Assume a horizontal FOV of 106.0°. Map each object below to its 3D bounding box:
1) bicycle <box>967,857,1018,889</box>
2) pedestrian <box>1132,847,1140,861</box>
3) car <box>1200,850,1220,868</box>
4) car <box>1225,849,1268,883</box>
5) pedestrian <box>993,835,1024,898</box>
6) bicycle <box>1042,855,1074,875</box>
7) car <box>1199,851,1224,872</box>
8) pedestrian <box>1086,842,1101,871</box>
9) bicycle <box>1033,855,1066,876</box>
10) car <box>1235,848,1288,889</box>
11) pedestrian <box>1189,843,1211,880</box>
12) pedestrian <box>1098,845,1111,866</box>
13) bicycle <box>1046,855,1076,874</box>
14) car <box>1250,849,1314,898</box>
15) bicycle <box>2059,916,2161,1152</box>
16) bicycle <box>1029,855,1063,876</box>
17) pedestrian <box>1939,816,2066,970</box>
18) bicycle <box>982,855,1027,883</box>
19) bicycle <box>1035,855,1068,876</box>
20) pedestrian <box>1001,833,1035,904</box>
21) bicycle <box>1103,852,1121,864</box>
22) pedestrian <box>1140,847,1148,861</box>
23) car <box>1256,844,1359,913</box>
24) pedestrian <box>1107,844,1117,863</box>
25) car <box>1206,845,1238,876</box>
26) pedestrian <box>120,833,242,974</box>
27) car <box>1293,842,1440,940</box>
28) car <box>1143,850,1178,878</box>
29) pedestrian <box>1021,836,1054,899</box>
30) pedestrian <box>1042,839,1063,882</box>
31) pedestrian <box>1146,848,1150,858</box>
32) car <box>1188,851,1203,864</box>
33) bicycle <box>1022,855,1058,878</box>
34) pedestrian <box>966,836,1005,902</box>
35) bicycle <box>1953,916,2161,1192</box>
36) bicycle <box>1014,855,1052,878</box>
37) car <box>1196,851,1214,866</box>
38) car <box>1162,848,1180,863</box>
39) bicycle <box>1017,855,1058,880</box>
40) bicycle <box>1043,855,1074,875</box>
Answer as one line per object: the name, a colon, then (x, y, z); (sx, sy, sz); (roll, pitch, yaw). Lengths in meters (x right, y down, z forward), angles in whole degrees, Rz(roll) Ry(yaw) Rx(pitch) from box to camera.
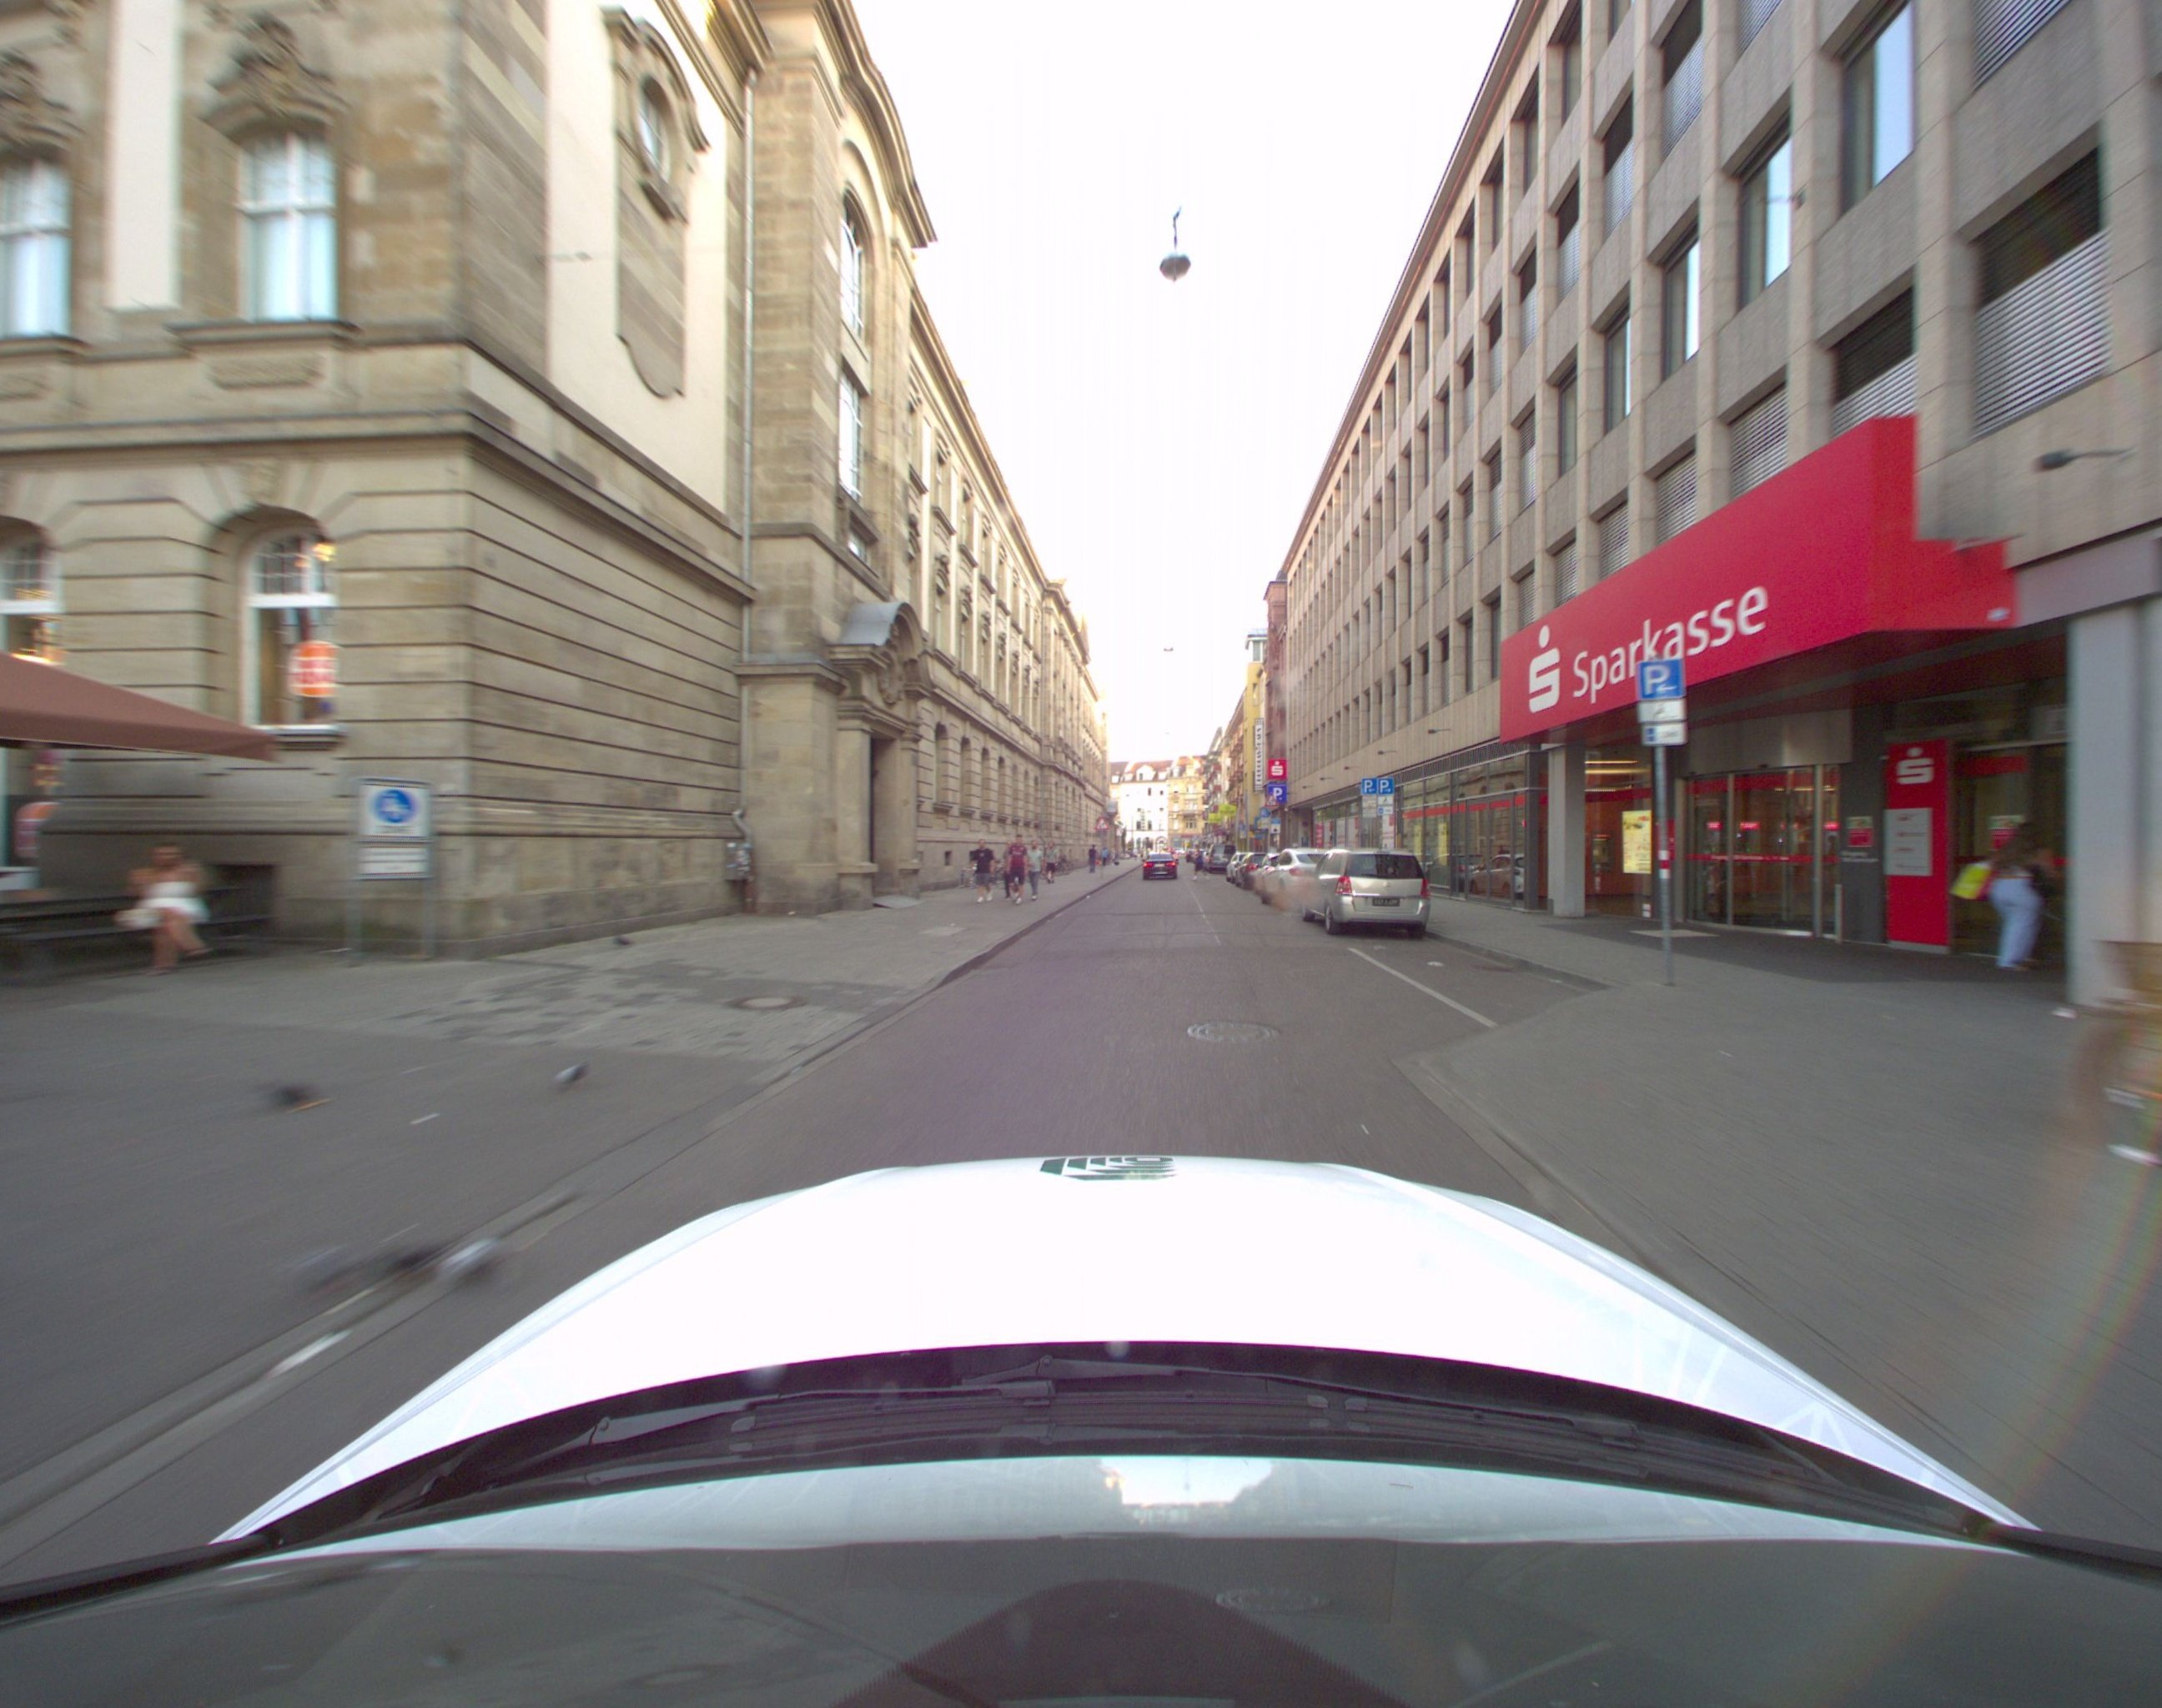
bicycle: (-3.100, 0.662, 28.554); (1.669, 1.041, 0.489); (2, 0, 11)
pedestrian: (7.326, 0.021, 107.848); (0.929, 1.752, 0.811); (3, 0, 2)
car: (11.668, 0.418, 73.837); (1.636, 1.523, 3.290); (2, 0, 5)
car: (7.836, 0.545, 38.718); (1.636, 1.523, 3.290); (2, 0, 5)
pedestrian: (-2.065, 0.355, 23.325); (0.686, 1.752, 0.722); (3, 0, 3)
bicycle: (-1.240, 0.603, 44.638); (1.672, 1.041, 0.488); (2, 0, 4)
car: (10.046, 0.523, 62.872); (1.636, 1.523, 3.290); (2, 0, 5)
pedestrian: (0.778, 0.137, 50.843); (0.800, 1.752, 0.811); (3, 0, 3)
bicycle: (-1.673, 0.599, 42.879); (1.672, 1.041, 0.488); (2, 0, 4)
car: (7.182, 0.546, 32.629); (1.636, 1.523, 3.290); (2, 0, 5)
pedestrian: (5.823, 0.353, 39.884); (0.823, 1.791, 0.722); (0, 0, -19)
pedestrian: (1.886, 0.096, 64.509); (0.929, 1.636, 0.655); (3, 0, 3)
bicycle: (-1.141, 0.609, 46.390); (1.672, 1.041, 0.488); (2, 0, 4)
car: (6.804, 0.608, 27.808); (1.636, 1.523, 3.290); (2, 0, 5)
bicycle: (5.163, 0.842, 3.273); (0.556, 1.041, 1.688); (-2, 0, 7)
bicycle: (-1.792, 0.595, 41.646); (1.672, 1.041, 0.488); (2, 0, 4)
pedestrian: (10.446, 0.420, 9.250); (0.703, 1.661, 0.692); (-1, 0, -14)
bicycle: (-2.951, 0.565, 31.389); (1.680, 1.041, 0.485); (2, 0, -12)
bicycle: (-1.567, 0.600, 43.327); (1.672, 1.041, 0.488); (2, 0, 4)
pedestrian: (-1.669, 0.376, 21.688); (0.694, 1.812, 0.976); (3, 0, 3)
bicycle: (2.933, 0.415, 77.036); (1.671, 1.041, 0.488); (3, 0, 6)
pedestrian: (8.354, 0.018, 108.325); (0.929, 1.752, 0.811); (3, 0, 2)
car: (5.972, 0.581, 21.922); (1.762, 1.636, 4.093); (2, 0, 3)
pedestrian: (2.922, -0.037, 76.100); (0.804, 1.752, 0.937); (3, 0, 4)
car: (9.537, 0.401, 55.341); (1.861, 2.018, 3.771); (2, 0, 5)
pedestrian: (-9.046, 0.463, 8.193); (0.763, 1.308, 0.669); (4, 2, 30)
car: (5.442, 0.620, 16.067); (1.761, 1.636, 4.058); (2, 0, 5)
car: (4.227, 0.491, 43.563); (1.761, 1.409, 4.058); (-1, 0, 5)
pedestrian: (-1.268, 0.381, 23.729); (0.783, 1.752, 0.722); (3, 0, 3)
pedestrian: (-1.211, 0.265, 34.546); (0.715, 1.752, 0.669); (3, 0, 3)
pedestrian: (11.789, -0.235, 143.254); (0.663, 1.752, 0.681); (3, 0, 2)
car: (13.931, 0.442, 99.564); (1.636, 1.523, 3.290); (2, 0, 5)
bicycle: (-1.996, 0.589, 39.548); (1.672, 1.041, 0.488); (2, 0, 4)
pedestrian: (-2.537, 0.387, 21.721); (0.794, 1.675, 0.976); (3, 0, 3)
bicycle: (4.656, 0.845, 3.300); (0.556, 1.041, 1.688); (-2, 0, 7)
bicycle: (-2.246, 0.586, 38.294); (1.672, 1.041, 0.488); (2, 0, 4)
car: (12.961, 0.474, 85.199); (1.636, 1.523, 3.290); (2, 0, 5)
car: (9.230, 0.144, 83.833); (1.786, 1.510, 4.006); (0, 1, 5)
bicycle: (-1.875, 0.572, 34.852); (1.672, 1.041, 0.488); (2, 0, 4)
bicycle: (-1.234, 0.604, 45.104); (1.672, 1.041, 0.488); (2, 0, 4)
